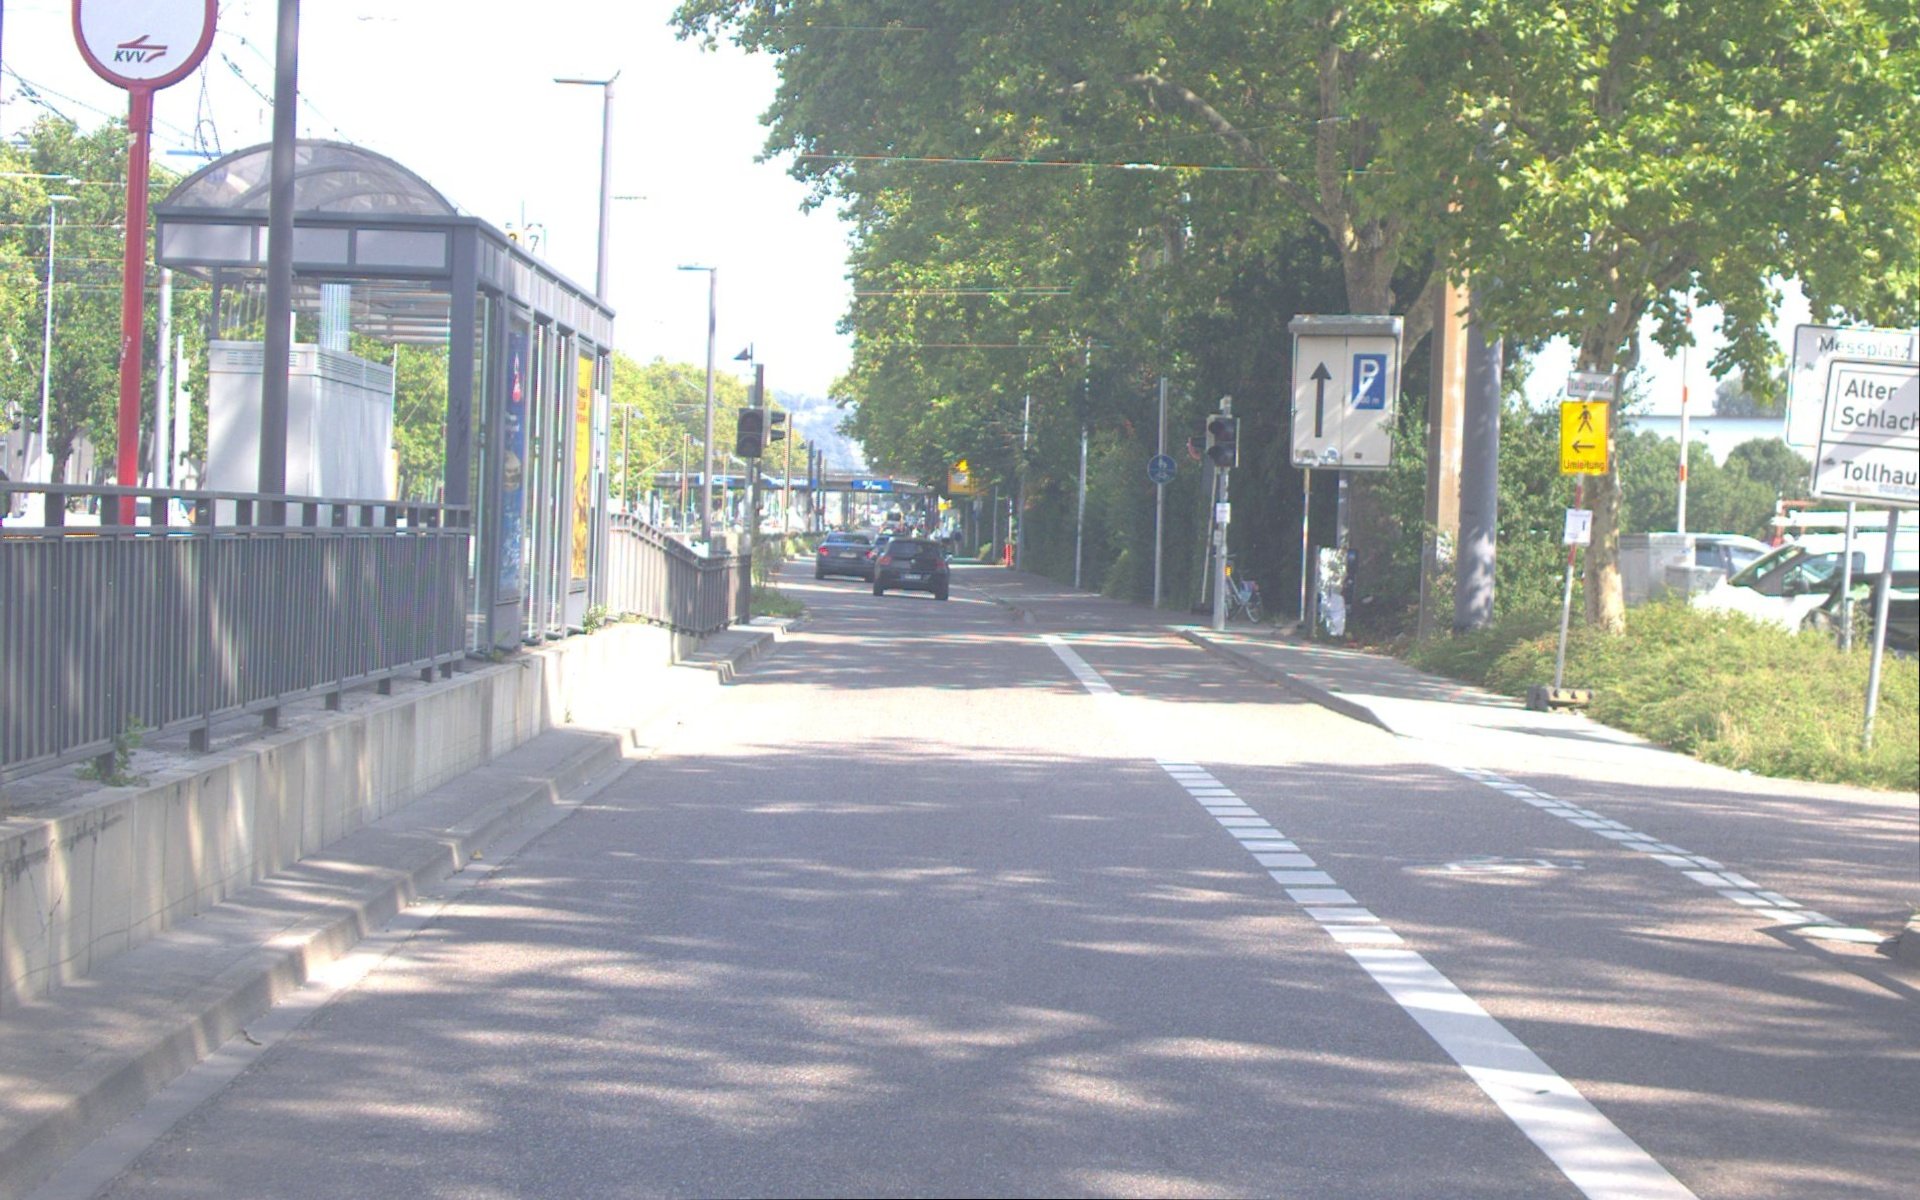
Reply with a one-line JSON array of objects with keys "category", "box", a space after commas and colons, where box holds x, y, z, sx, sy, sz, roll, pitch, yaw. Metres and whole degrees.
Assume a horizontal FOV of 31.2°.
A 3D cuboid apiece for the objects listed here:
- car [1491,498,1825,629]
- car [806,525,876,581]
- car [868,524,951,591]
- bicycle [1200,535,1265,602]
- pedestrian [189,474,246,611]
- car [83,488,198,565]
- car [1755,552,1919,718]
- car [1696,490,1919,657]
[{"category": "car", "box": [9.311, -0.507, 46.084, 3.986, 1.581, 2.000, 2, 1, -2]}, {"category": "car", "box": [-3.474, -1.392, 100.367, 1.973, 1.532, 4.001, -1, 2, -2]}, {"category": "car", "box": [-1.223, -1.038, 82.018, 1.907, 1.532, 4.001, 0, 2, -2]}, {"category": "bicycle", "box": [4.435, -0.521, 56.106, 0.610, 1.018, 2.403, 2, 1, -5]}, {"category": "pedestrian", "box": [-9.944, -0.770, 46.074, 0.707, 1.814, 0.773, 0, 0, -10]}, {"category": "car", "box": [-20.741, -1.871, 87.167, 1.993, 1.831, 4.001, 2, 1, -2]}, {"category": "car", "box": [9.114, 0.303, 33.429, 1.728, 1.443, 4.117, 1, 2, -1]}, {"category": "car", "box": [10.969, -0.321, 40.733, 4.103, 1.912, 1.848, 1, 2, 2]}]
